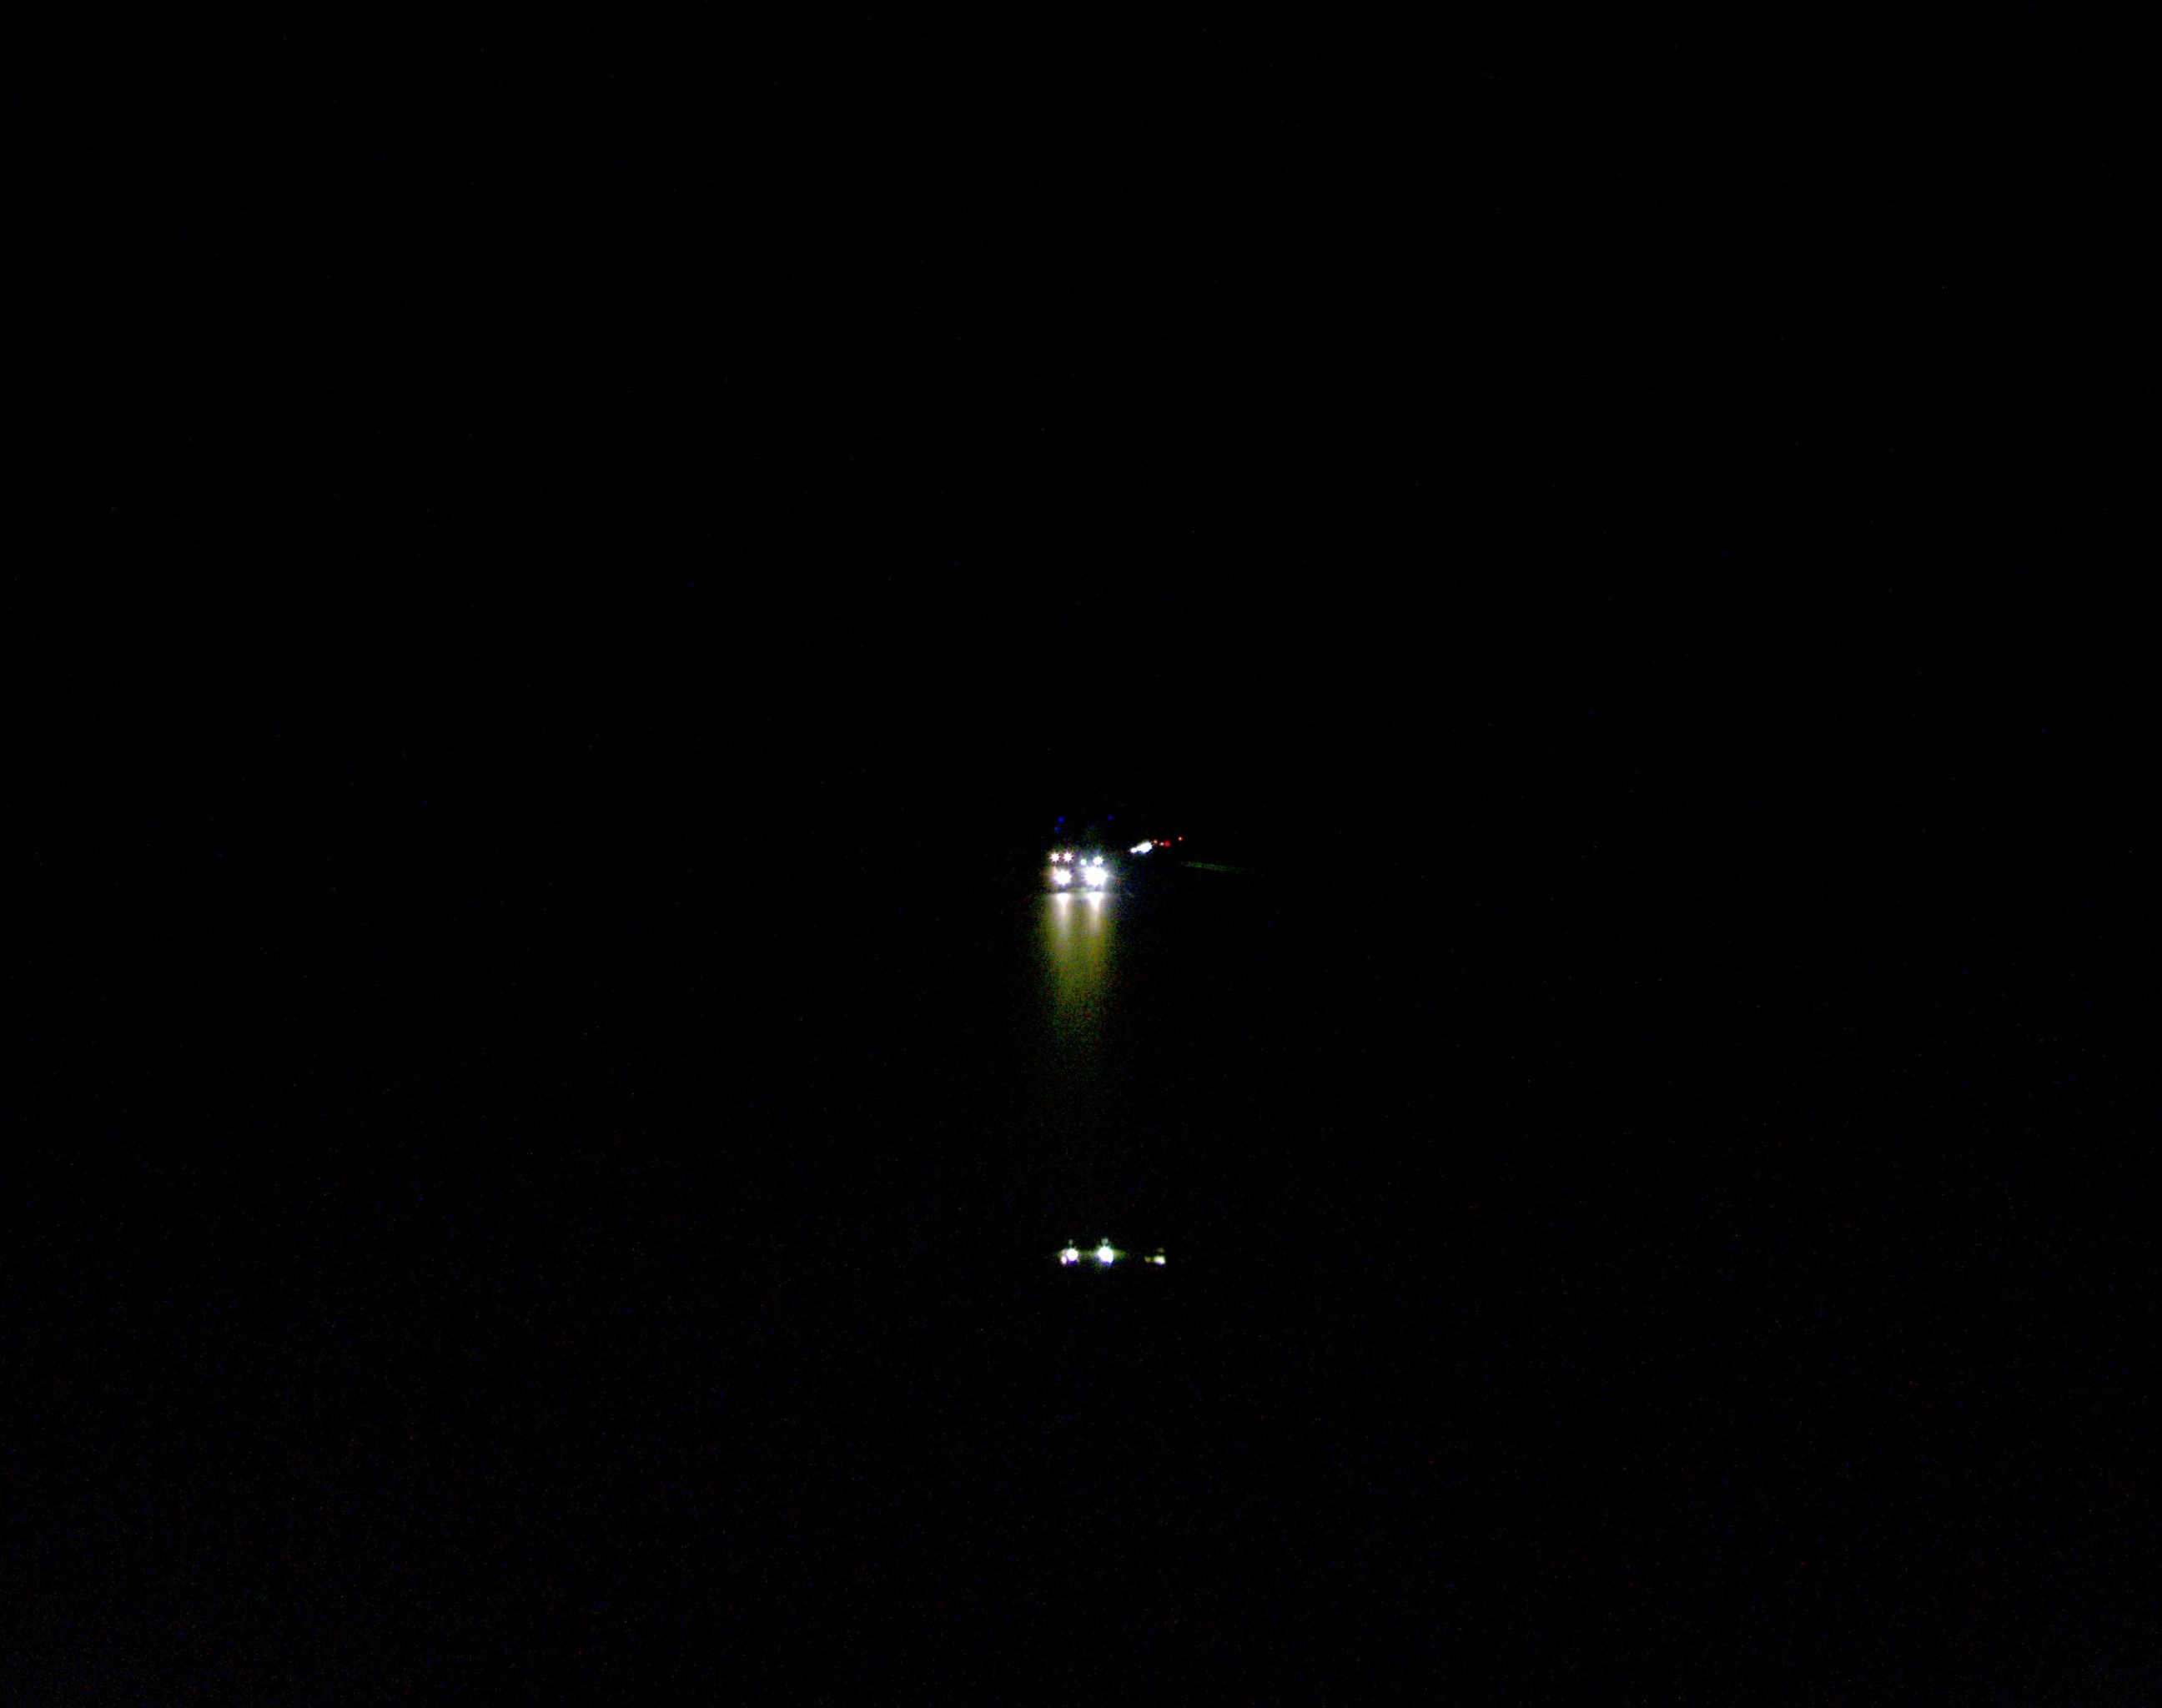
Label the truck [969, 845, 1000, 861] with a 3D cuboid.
[{"bbox_3d":[-26.241,-0.289,206.899,3.065,3.902,9.637,-4,1,-44],"label":"truck"}]

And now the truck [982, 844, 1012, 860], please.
[{"bbox_3d":[-23.885,-0.549,215.701,2.965,3.902,9.637,-4,1,-44],"label":"truck"}]

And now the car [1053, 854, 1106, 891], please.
[{"bbox_3d":[0.006,0.739,32.348,1.832,1.404,4.001,-3,0,5],"label":"car"}]

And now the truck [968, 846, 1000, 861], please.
[{"bbox_3d":[-25.768,-0.111,200.916,3.065,3.667,9.637,-4,1,-44],"label":"truck"}]

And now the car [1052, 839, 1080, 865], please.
[{"bbox_3d":[-1.759,-0.273,90.735,2.533,2.888,6.229,-3,0,5],"label":"car"}]

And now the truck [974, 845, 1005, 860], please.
[{"bbox_3d":[-25.650,-0.401,212.363,3.065,3.902,9.637,-4,1,-44],"label":"truck"}]

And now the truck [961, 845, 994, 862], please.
[{"bbox_3d":[-26.851,-0.101,196.258,3.065,3.902,9.637,-4,1,-44],"label":"truck"}]

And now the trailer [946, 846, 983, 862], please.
[{"bbox_3d":[-29.911,0.110,194.001,2.547,3.644,12.963,-4,1,-42],"label":"trailer"}]

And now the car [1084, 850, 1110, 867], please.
[{"bbox_3d":[1.501,0.397,69.660,1.998,1.455,4.001,-3,0,5],"label":"car"}]

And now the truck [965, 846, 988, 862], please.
[{"bbox_3d":[-26.069,-0.001,189.660,2.537,3.628,6.194,-4,1,-41],"label":"truck"}]

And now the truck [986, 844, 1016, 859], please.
[{"bbox_3d":[-23.260,-0.645,219.877,3.065,3.902,9.637,-4,1,-44],"label":"truck"}]
